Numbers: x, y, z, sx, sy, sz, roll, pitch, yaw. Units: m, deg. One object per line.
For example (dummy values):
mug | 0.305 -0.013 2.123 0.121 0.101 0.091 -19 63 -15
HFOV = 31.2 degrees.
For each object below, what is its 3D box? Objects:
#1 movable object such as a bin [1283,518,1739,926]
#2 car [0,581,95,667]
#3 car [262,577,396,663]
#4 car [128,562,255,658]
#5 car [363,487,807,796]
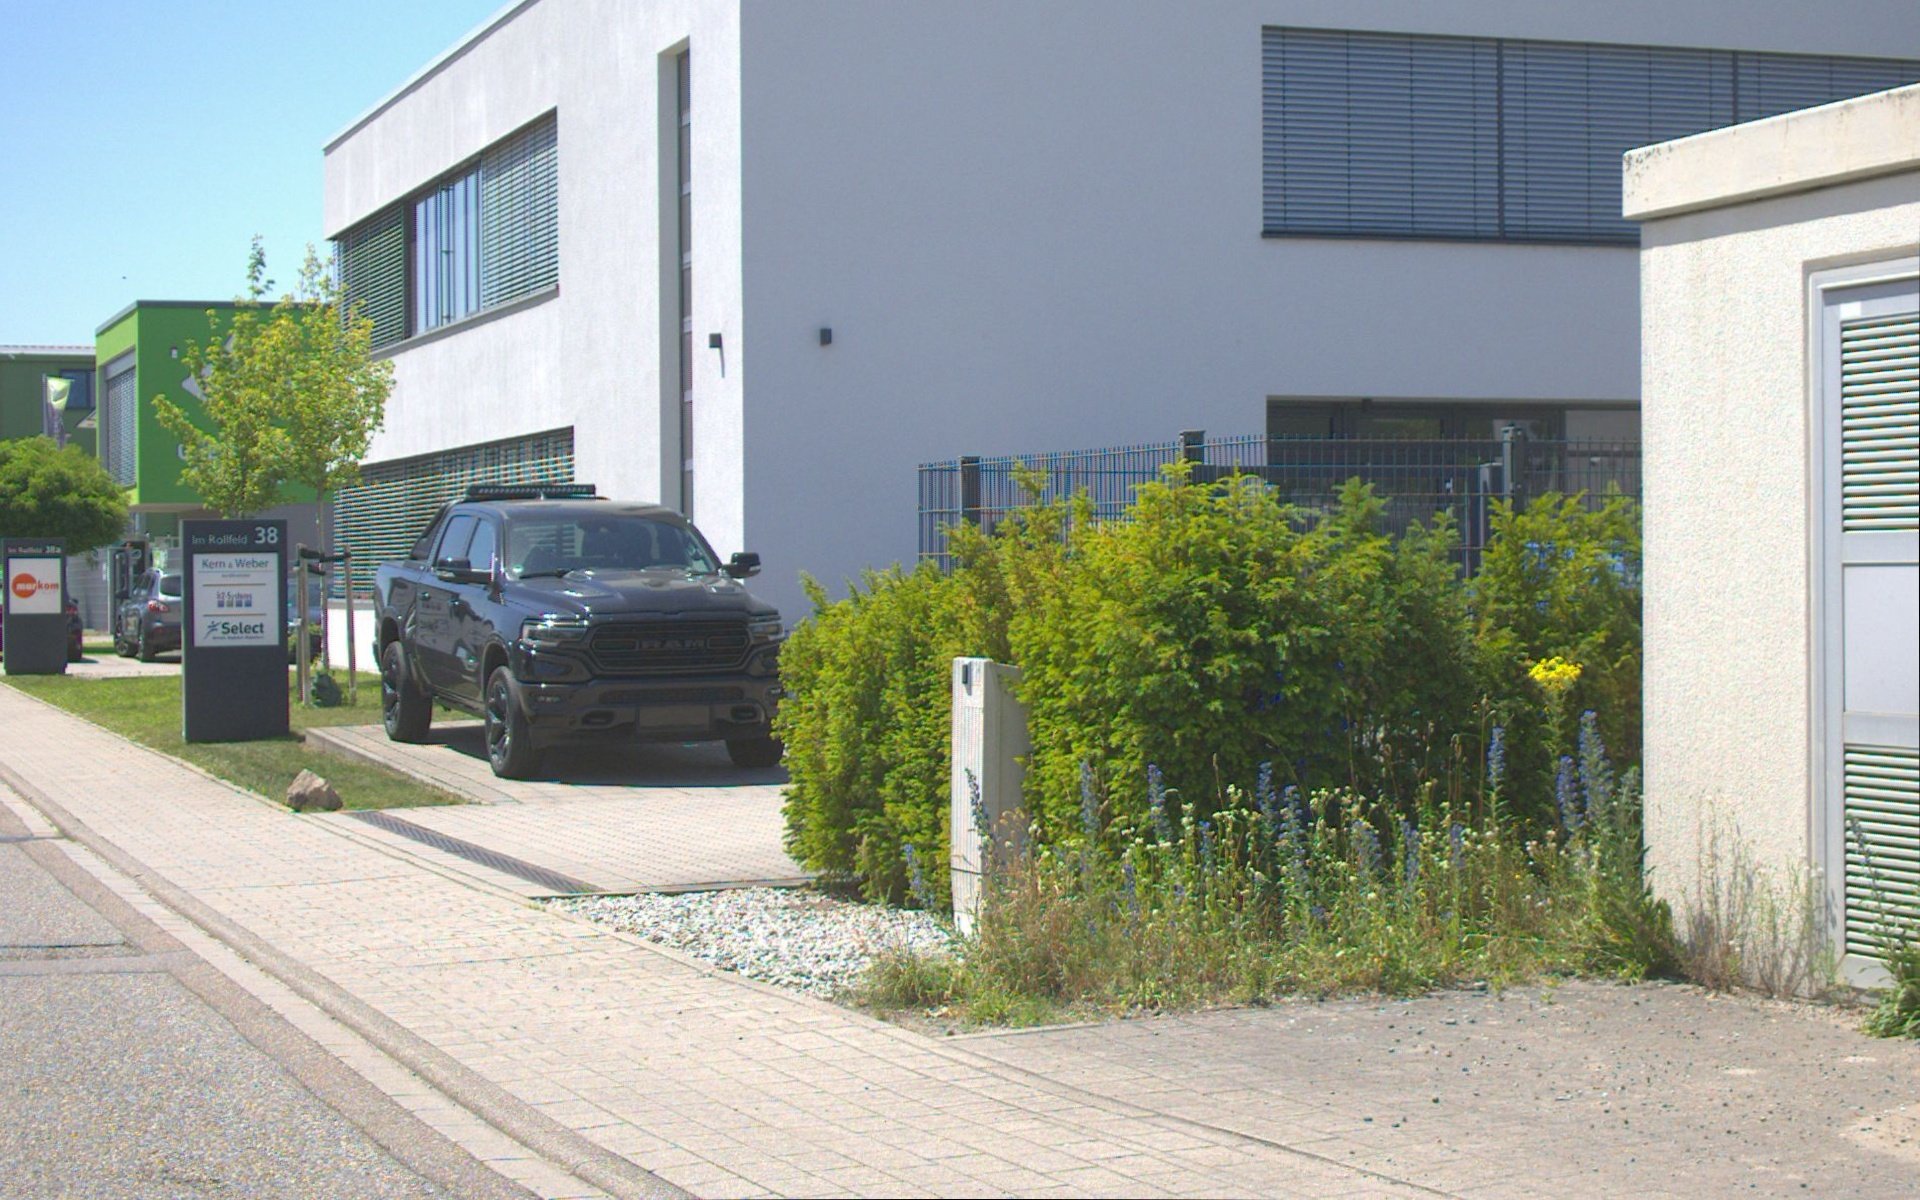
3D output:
movable object such as a bin | 2.177 0.446 13.715 1.383 1.517 1.170 -1 1 -20
car | -16.135 0.389 59.878 1.691 1.423 4.247 0 0 -19
car | -11.179 0.332 60.713 1.722 1.444 4.023 0 0 -19
car | -13.570 0.158 60.567 1.722 1.627 4.023 0 0 -19
car | -3.043 0.186 26.545 1.993 2.006 5.802 -1 3 -21
